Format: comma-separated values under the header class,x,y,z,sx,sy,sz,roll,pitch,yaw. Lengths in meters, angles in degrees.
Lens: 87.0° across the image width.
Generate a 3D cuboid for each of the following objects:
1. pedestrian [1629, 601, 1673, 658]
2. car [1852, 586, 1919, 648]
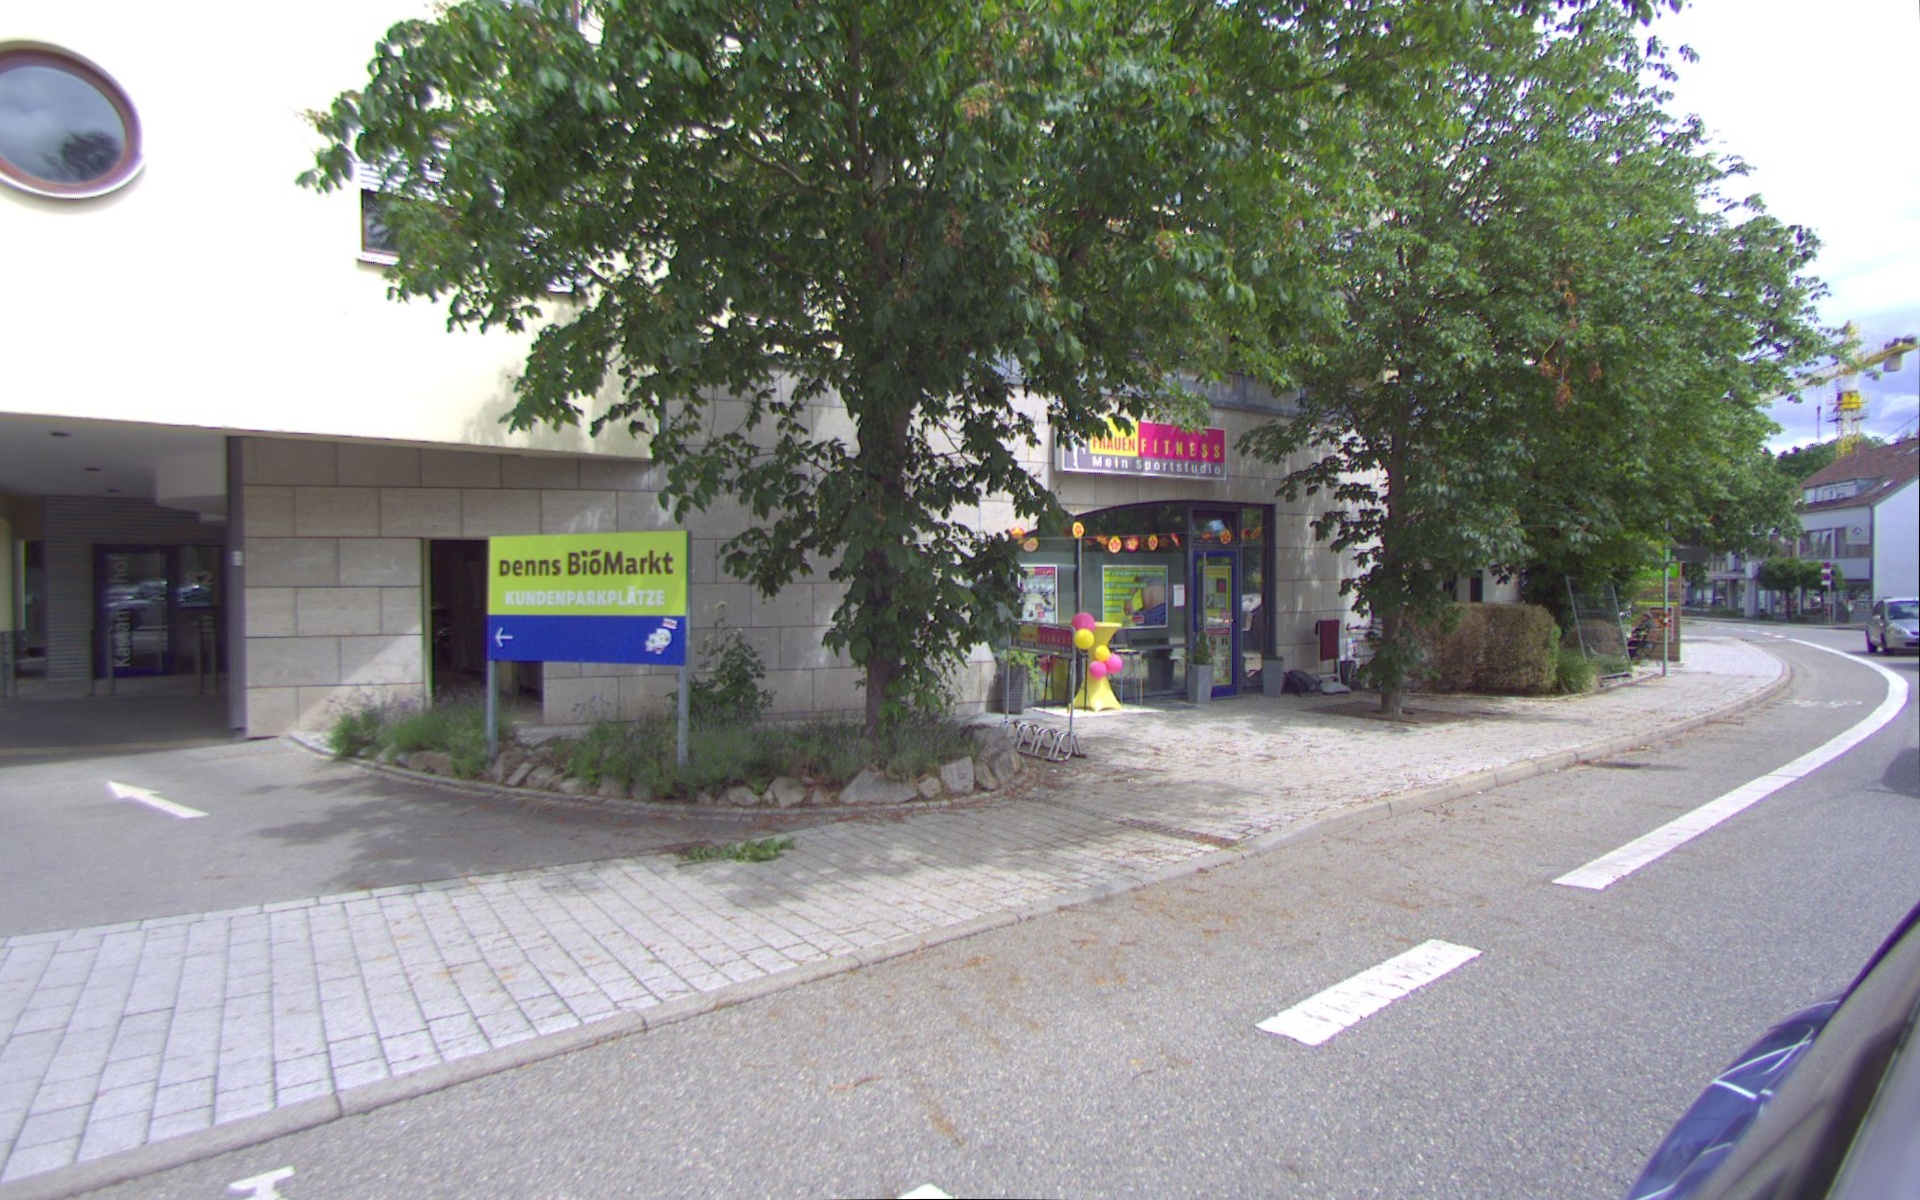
class,x,y,z,sx,sy,sz,roll,pitch,yaw
pedestrian,16.447,0.694,24.089,0.741,1.317,0.730,0,0,-43
car,25.713,0.409,27.164,1.678,1.505,3.962,-3,-1,28
